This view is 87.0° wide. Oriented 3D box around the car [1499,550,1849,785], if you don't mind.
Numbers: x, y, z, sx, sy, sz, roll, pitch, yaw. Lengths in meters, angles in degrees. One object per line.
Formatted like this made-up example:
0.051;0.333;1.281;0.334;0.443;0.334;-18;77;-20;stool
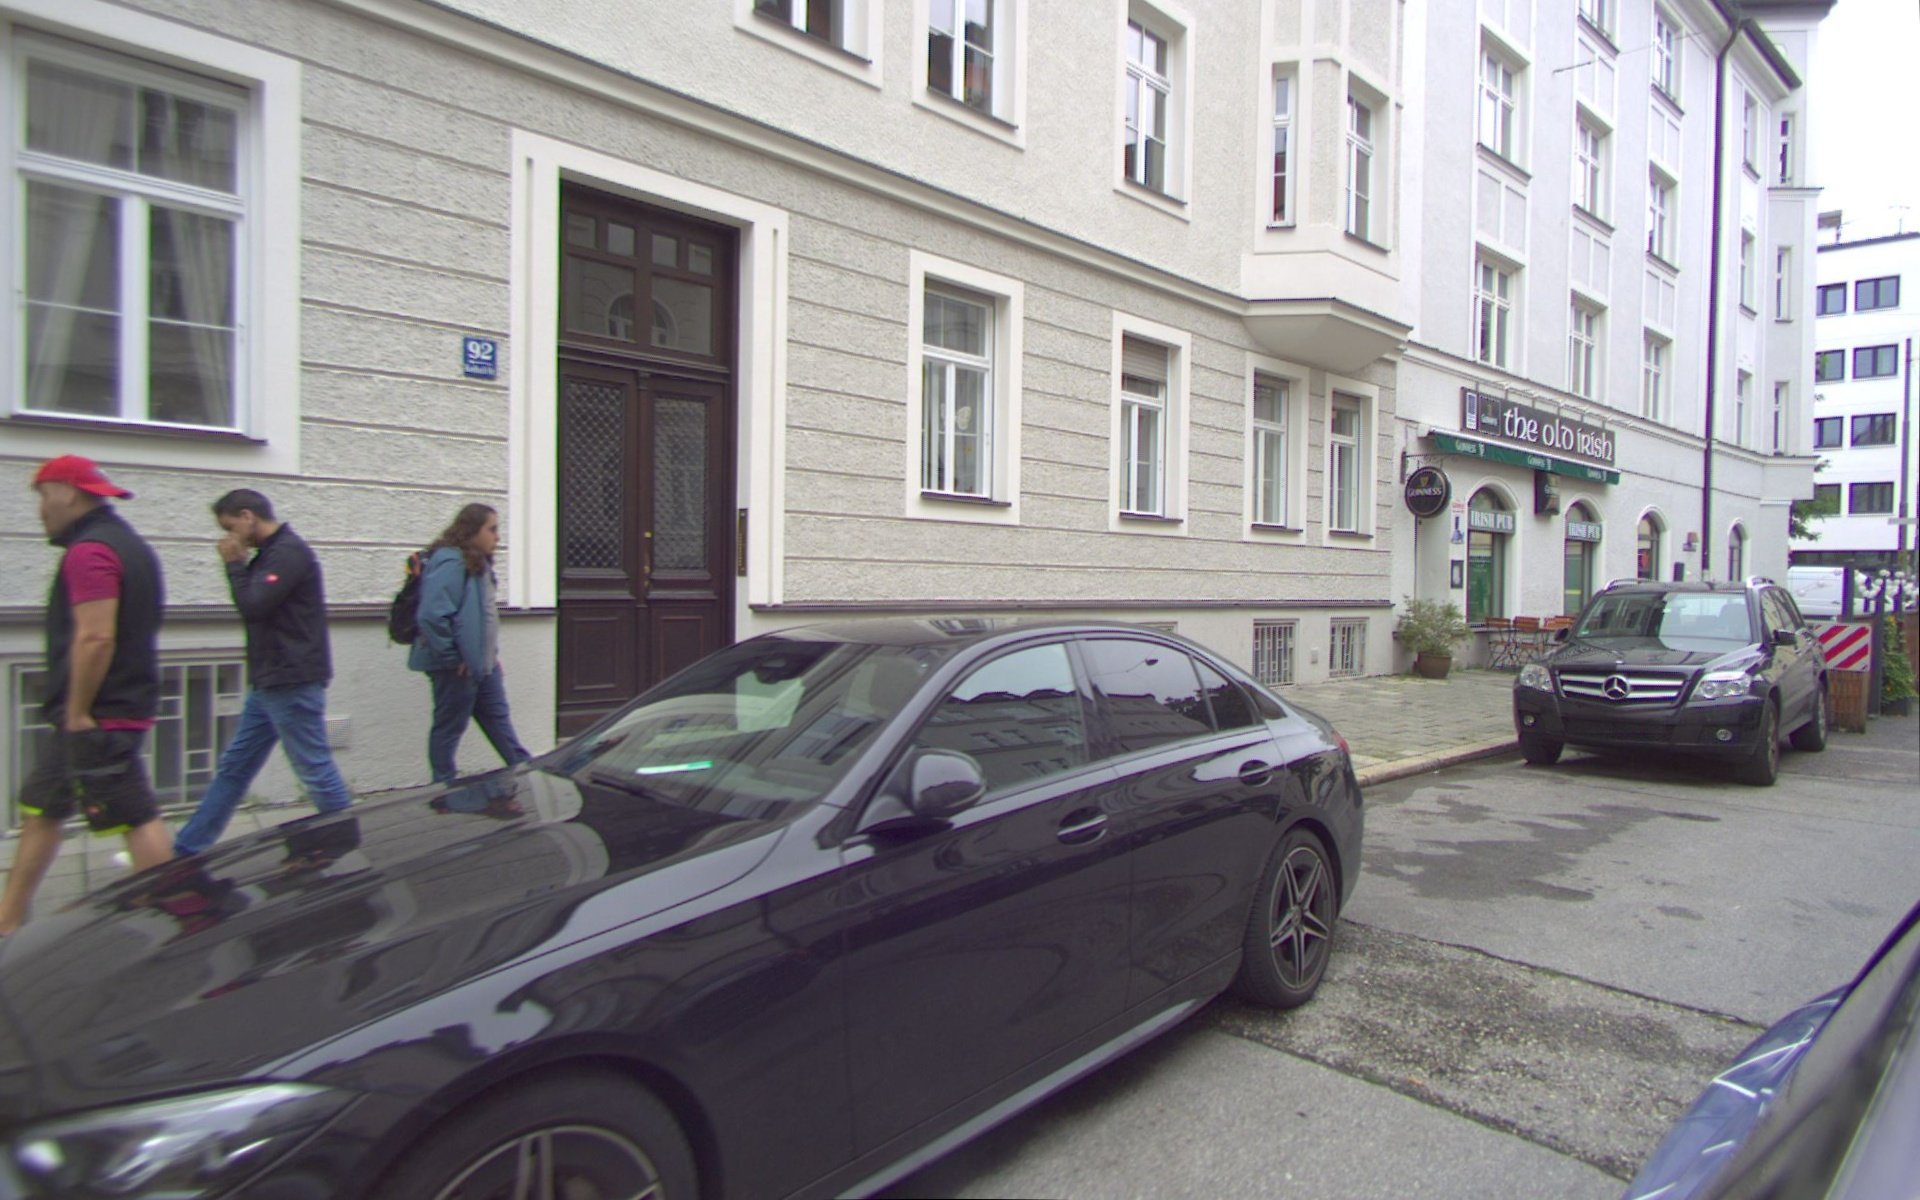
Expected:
6.739;0.488;9.373;4.118;1.696;1.802;0;-1;-43;car

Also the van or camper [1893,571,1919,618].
54.408;-0.305;56.873;1.954;2.540;5.654;2;1;34;van or camper

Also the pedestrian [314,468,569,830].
-2.970;0.211;5.782;1.091;1.834;0.885;0;5;-41;pedestrian

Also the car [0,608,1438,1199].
-0.201;0.748;3.471;1.837;1.417;4.894;0;0;44;car

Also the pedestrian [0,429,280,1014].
-3.143;0.361;3.570;1.088;1.833;0.888;1;3;-25;pedestrian

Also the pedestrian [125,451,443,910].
-2.988;0.300;4.614;1.088;1.808;0.888;1;3;-28;pedestrian

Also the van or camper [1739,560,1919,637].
33.715;-0.084;38.859;5.849;2.748;2.269;2;-1;42;van or camper

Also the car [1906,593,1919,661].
21.728;0.552;21.711;3.430;1.418;1.669;0;-1;-40;car
